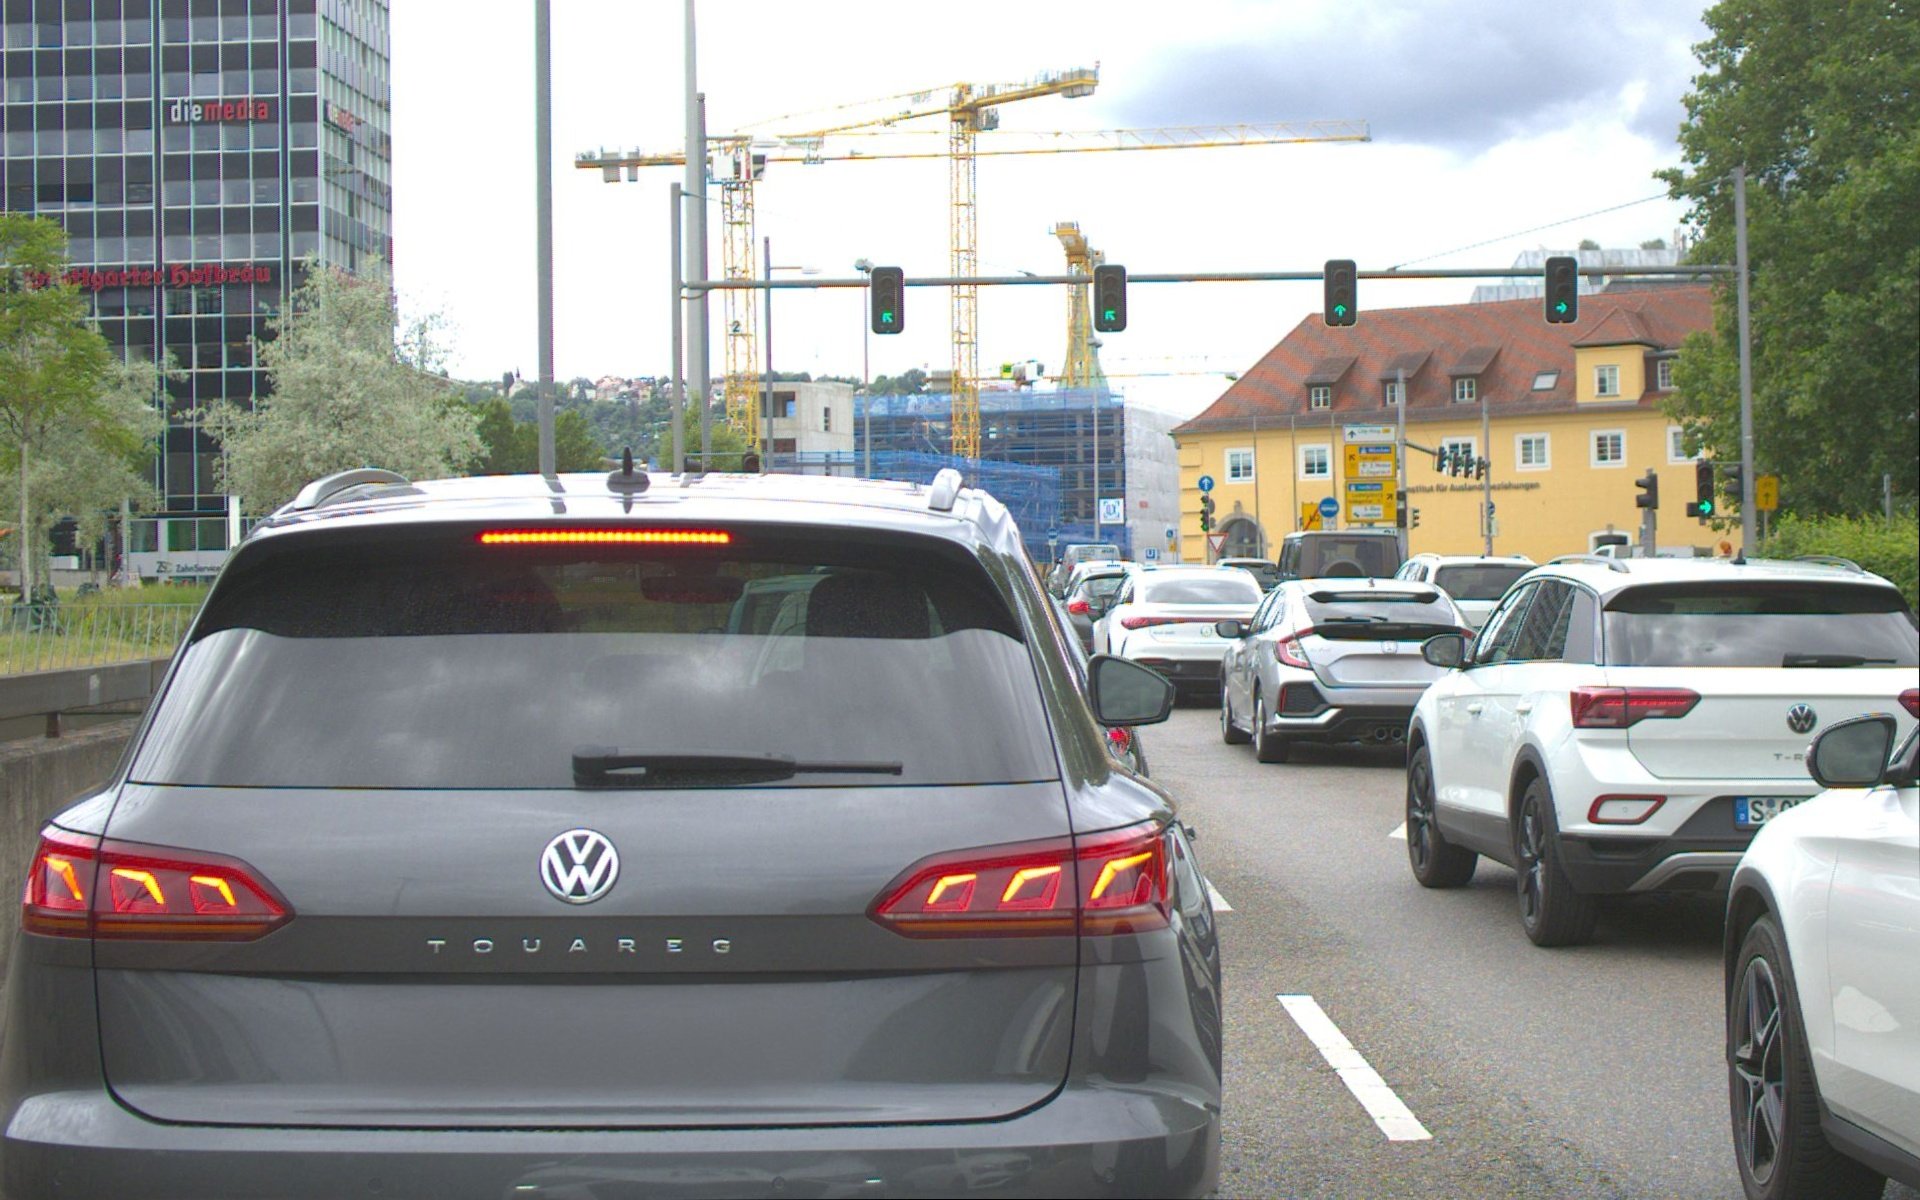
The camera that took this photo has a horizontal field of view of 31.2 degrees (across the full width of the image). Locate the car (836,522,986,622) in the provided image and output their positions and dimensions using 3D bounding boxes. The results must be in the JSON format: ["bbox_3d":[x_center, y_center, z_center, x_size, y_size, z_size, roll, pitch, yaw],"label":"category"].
[{"bbox_3d":[-0.717,-0.469,54.088,2.244,1.497,4.611,0,1,1],"label":"car"}]

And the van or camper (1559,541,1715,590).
[{"bbox_3d":[27.992,-1.424,142.259,6.017,2.007,2.015,0,1,35],"label":"van or camper"}]

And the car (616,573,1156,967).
[{"bbox_3d":[-0.294,0.613,14.704,1.993,1.382,4.000,0,1,-1],"label":"car"}]

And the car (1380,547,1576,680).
[{"bbox_3d":[6.194,0.127,41.496,1.803,1.497,3.981,0,1,1],"label":"car"}]

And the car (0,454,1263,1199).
[{"bbox_3d":[-0.578,0.585,6.709,1.933,1.641,4.000,0,1,-1],"label":"car"}]

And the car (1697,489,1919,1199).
[{"bbox_3d":[2.696,0.623,6.215,1.819,1.641,4.379,0,1,1],"label":"car"}]

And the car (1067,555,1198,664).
[{"bbox_3d":[2.483,0.105,50.260,1.719,1.497,3.981,0,1,0],"label":"car"}]

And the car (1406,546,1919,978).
[{"bbox_3d":[3.109,0.573,14.650,1.893,1.580,3.801,0,1,0],"label":"car"}]

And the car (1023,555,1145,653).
[{"bbox_3d":[2.252,0.046,62.413,2.139,1.722,4.070,0,0,2],"label":"car"}]

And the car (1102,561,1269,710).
[{"bbox_3d":[2.424,0.341,37.561,1.719,1.497,3.981,0,1,3],"label":"car"}]

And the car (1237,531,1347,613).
[{"bbox_3d":[6.241,-0.554,64.941,1.719,1.497,3.981,0,1,1],"label":"car"}]

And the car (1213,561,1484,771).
[{"bbox_3d":[3.003,0.462,27.308,1.719,1.497,4.144,0,1,1],"label":"car"}]

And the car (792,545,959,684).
[{"bbox_3d":[-0.941,0.132,39.437,1.814,1.491,3.906,0,1,-1],"label":"car"}]

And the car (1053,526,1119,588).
[{"bbox_3d":[4.140,-1.436,113.847,1.993,2.007,4.000,0,1,-1],"label":"car"}]

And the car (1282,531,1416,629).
[{"bbox_3d":[6.201,-0.348,55.128,1.719,1.497,3.981,0,1,1],"label":"car"}]
